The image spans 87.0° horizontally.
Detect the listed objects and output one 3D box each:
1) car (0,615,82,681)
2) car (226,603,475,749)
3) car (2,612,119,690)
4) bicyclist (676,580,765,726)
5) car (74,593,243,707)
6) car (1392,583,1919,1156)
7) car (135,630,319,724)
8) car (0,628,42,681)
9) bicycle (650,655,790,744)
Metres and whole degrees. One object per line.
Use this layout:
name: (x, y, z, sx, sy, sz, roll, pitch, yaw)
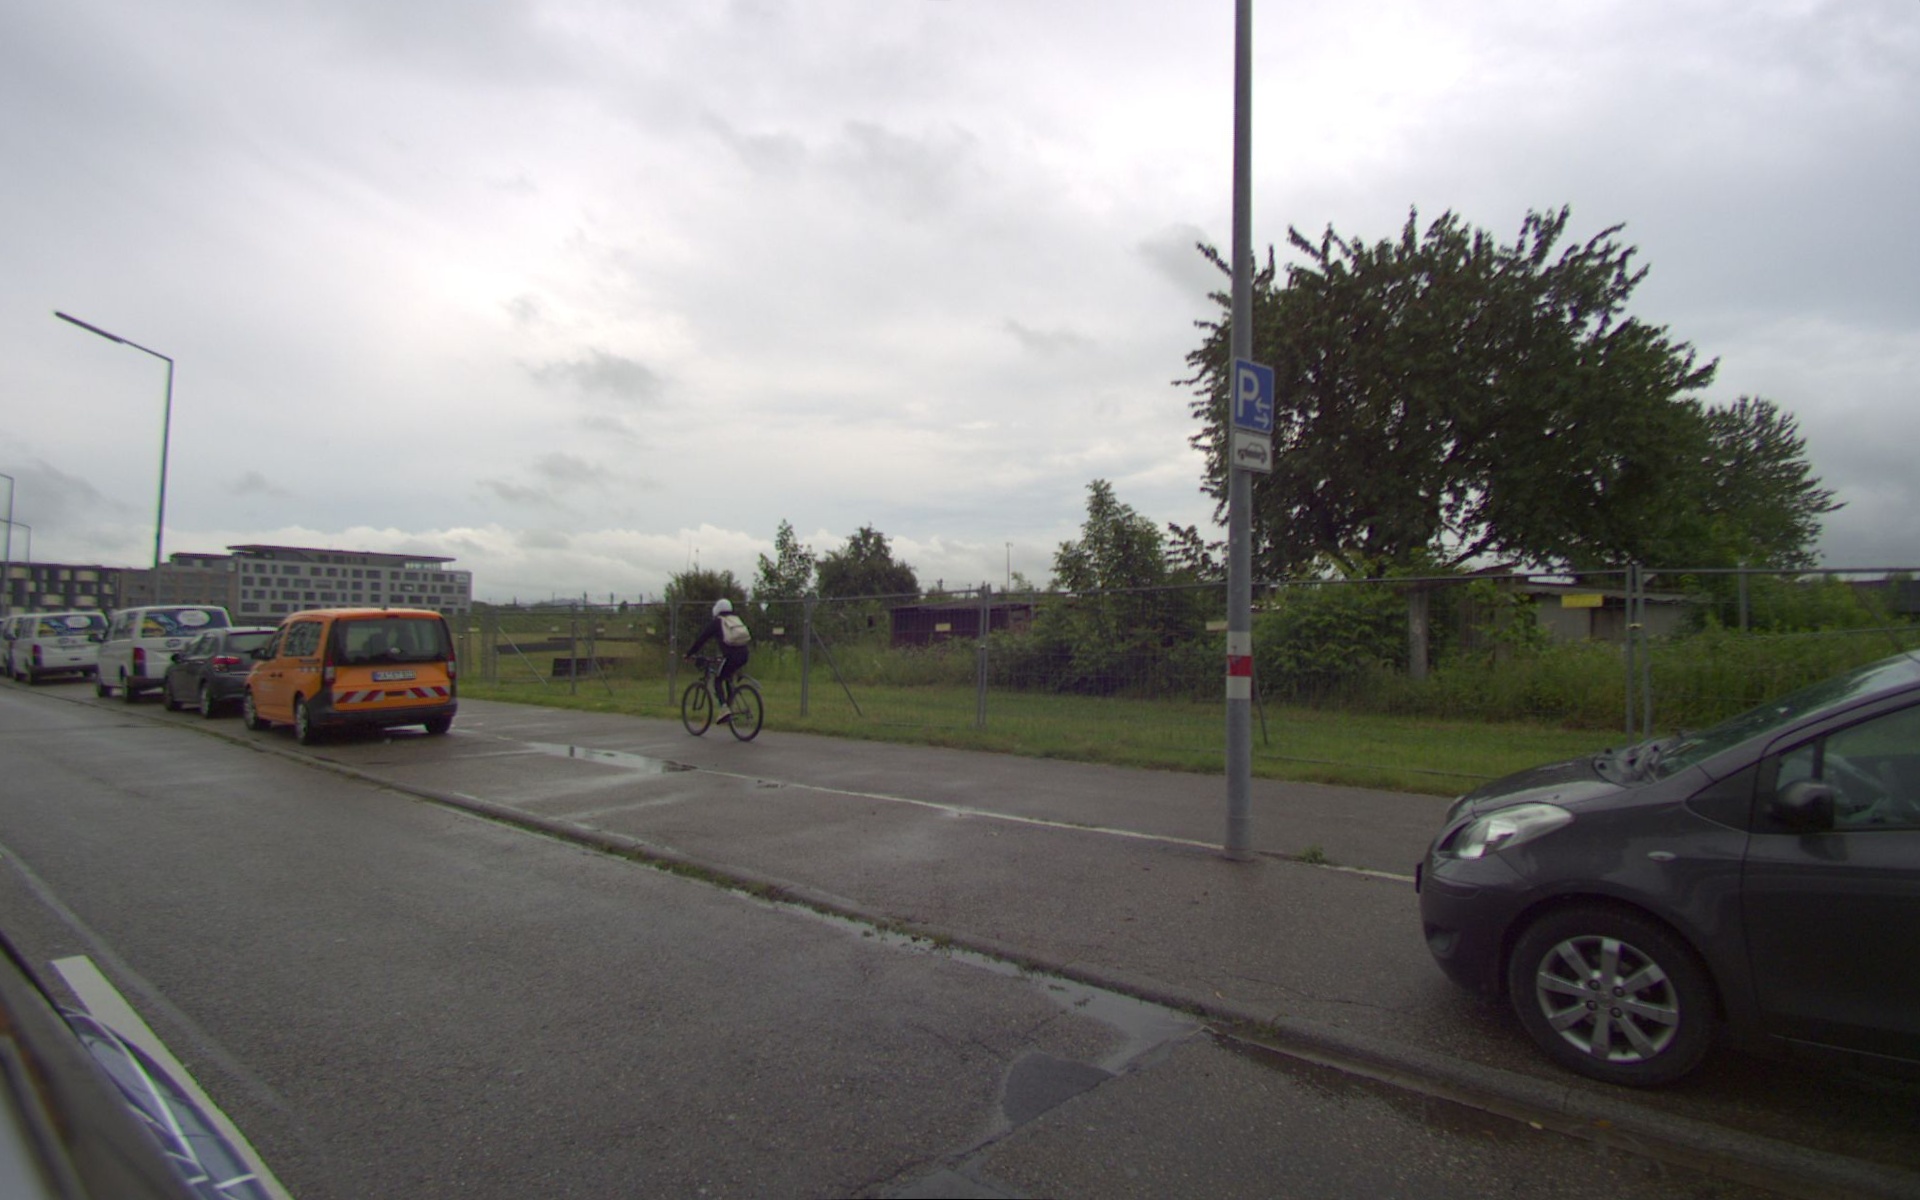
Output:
car: (-30.904, 1.572, 33.652, 5.255, 2.029, 1.875, -2, -3, 41)
car: (-8.867, 0.997, 14.578, 4.331, 1.781, 1.919, -2, -3, 43)
car: (-26.309, 1.437, 29.538, 5.272, 2.074, 1.939, -2, -2, 41)
bicyclist: (-3.181, 0.690, 13.420, 1.008, 1.843, 0.691, -2, -2, 41)
car: (-18.059, 1.085, 22.685, 5.554, 2.253, 1.922, -2, -3, 41)
car: (3.705, 0.723, 3.071, 4.031, 1.573, 1.785, -2, 0, 41)
car: (-13.664, 1.324, 18.750, 4.889, 1.513, 1.666, -1, -2, 41)
car: (-36.410, 2.030, 38.259, 4.992, 1.916, 1.935, -2, -2, 41)
bicycle: (-3.221, 1.281, 13.443, 2.143, 1.050, 0.709, -2, -2, 41)
